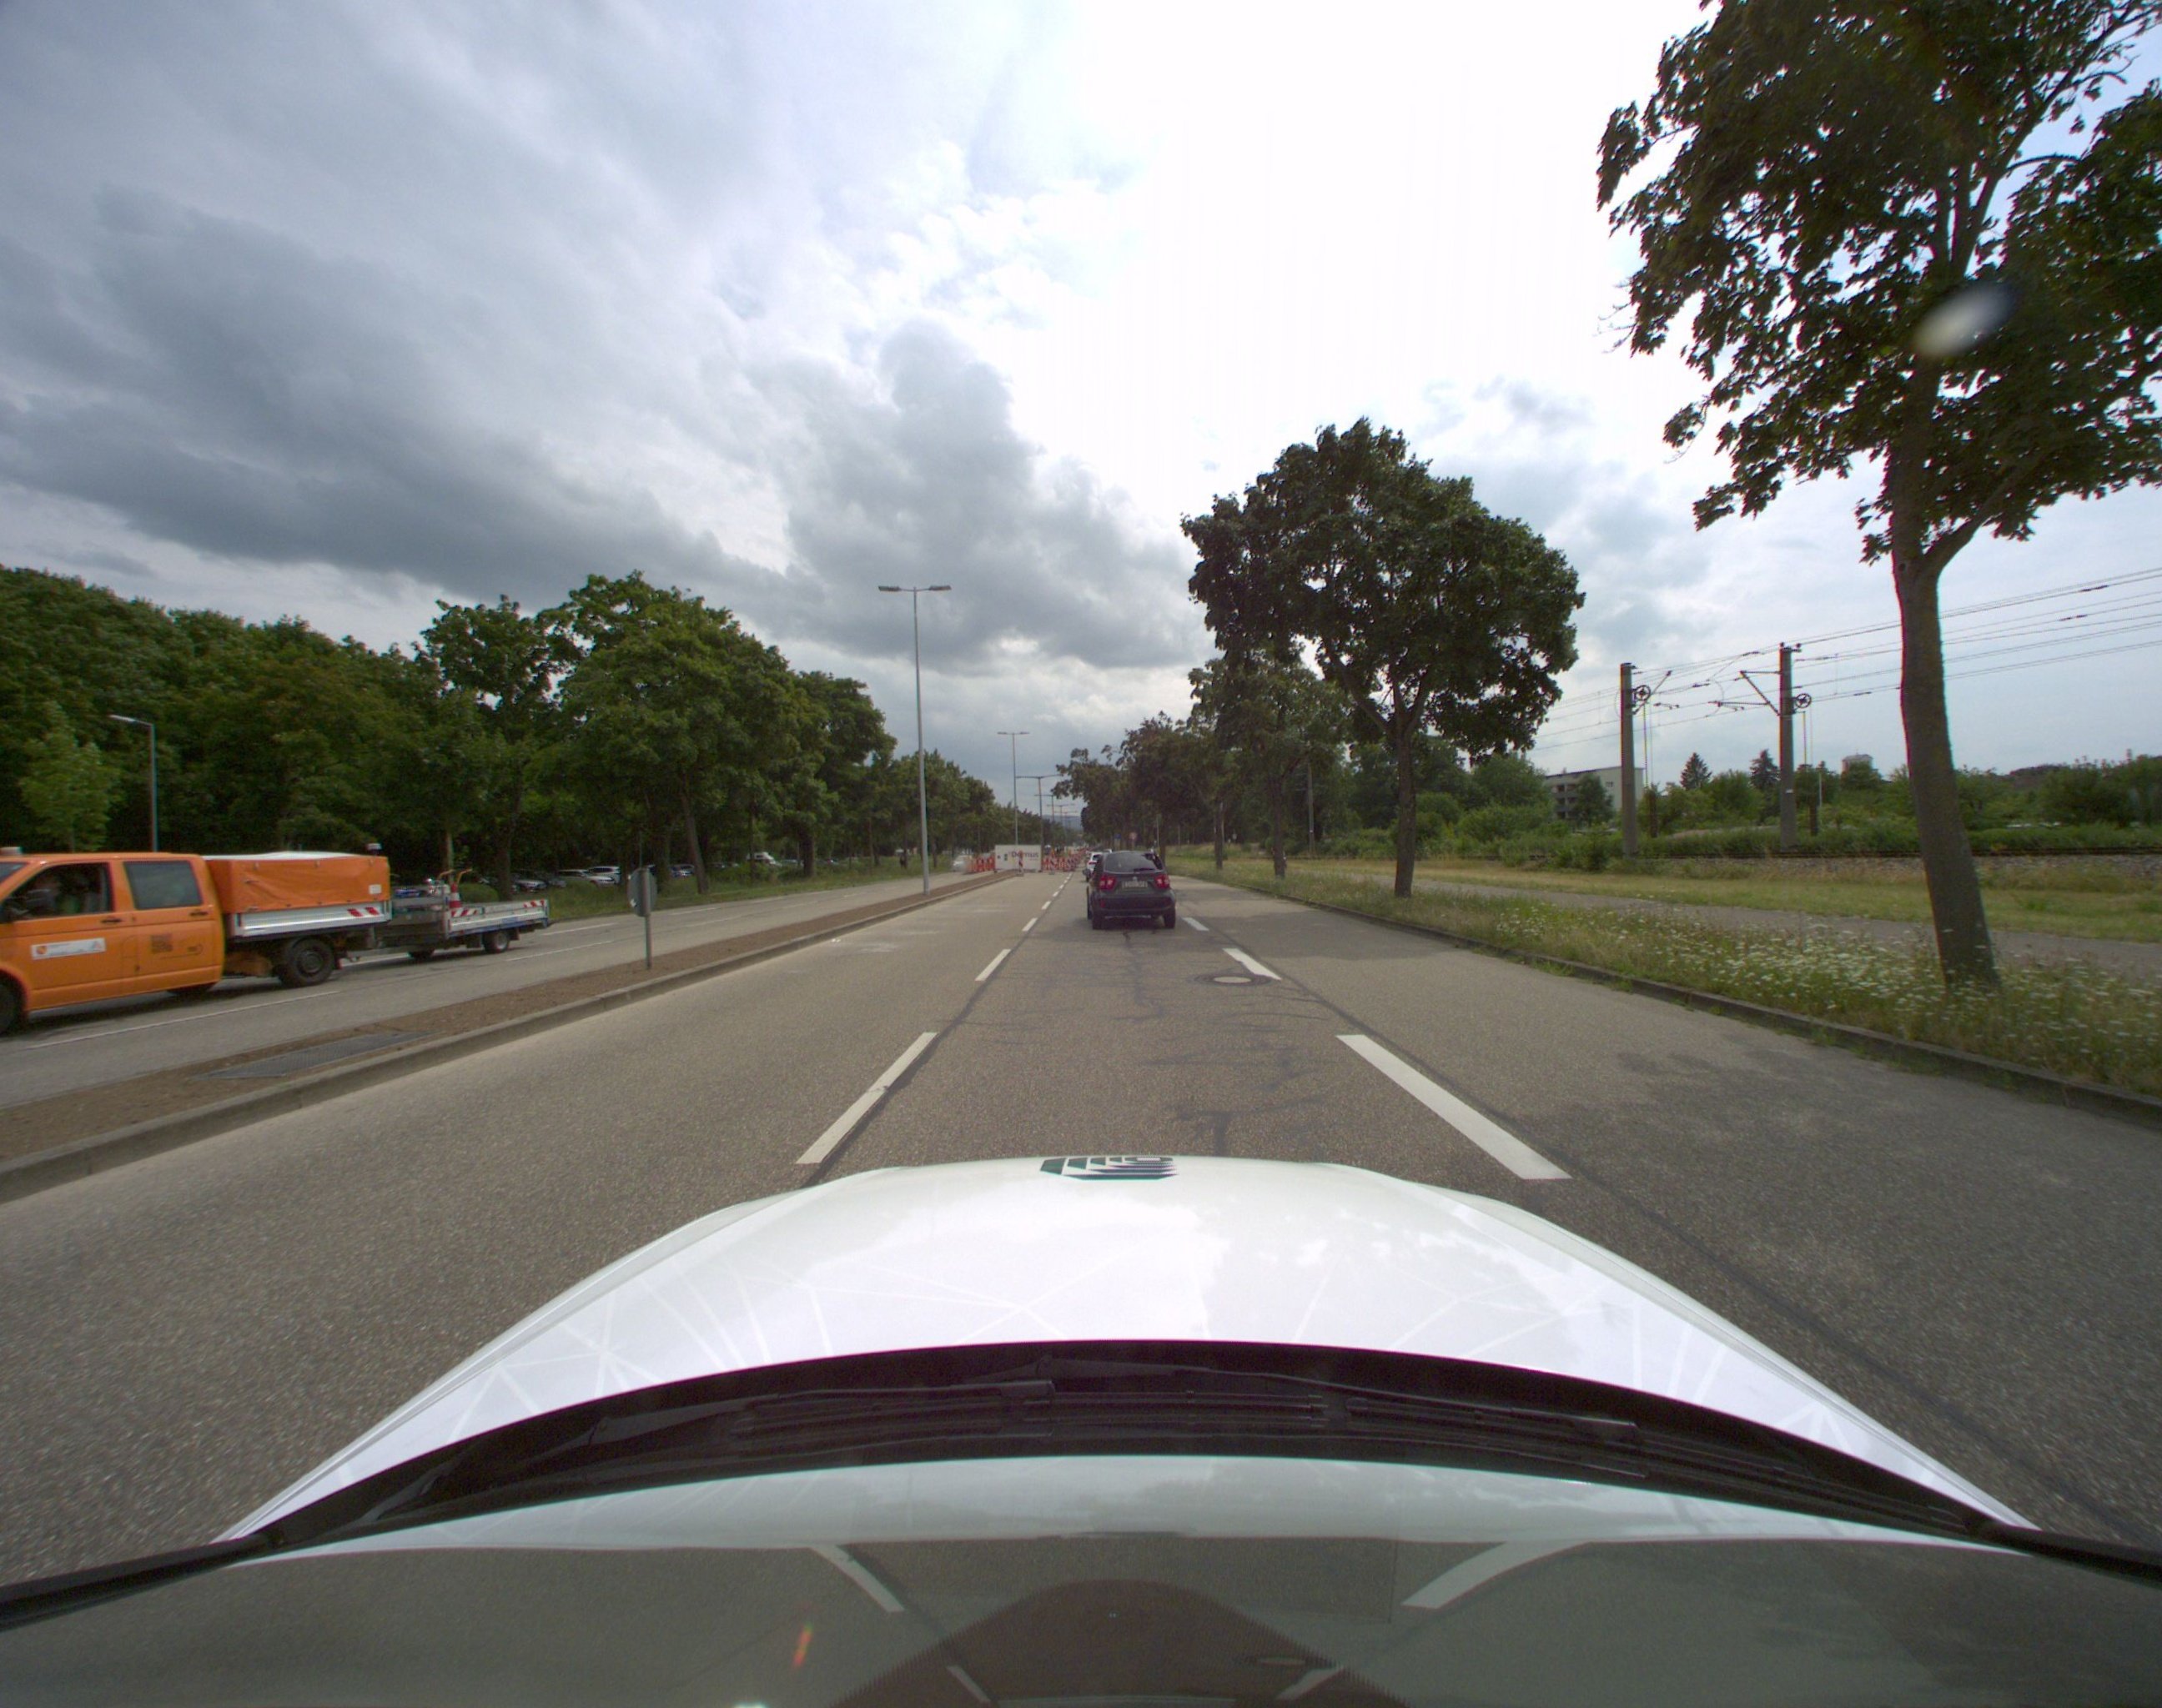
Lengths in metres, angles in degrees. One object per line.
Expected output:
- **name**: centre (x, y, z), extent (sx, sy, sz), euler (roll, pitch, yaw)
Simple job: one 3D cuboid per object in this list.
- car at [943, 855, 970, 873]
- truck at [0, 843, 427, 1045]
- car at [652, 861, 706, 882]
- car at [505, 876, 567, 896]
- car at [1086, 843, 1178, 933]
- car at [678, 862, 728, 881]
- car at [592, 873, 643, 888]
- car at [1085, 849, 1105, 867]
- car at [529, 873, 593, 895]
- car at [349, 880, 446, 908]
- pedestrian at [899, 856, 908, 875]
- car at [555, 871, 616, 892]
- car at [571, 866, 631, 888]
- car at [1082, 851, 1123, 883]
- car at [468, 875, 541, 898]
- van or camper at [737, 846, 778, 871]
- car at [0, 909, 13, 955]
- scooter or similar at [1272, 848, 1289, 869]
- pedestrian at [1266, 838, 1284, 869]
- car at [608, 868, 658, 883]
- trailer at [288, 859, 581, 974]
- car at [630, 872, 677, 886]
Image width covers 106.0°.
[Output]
- **car**: centre (-11.294, 0.857, 74.081), extent (1.684, 1.477, 4.000), euler (-3, 1, 1)
- **truck**: centre (-11.727, 0.920, 10.100), extent (2.080, 1.994, 6.042), euler (-3, 1, 2)
- **car**: centre (-37.712, 1.669, 76.466), extent (3.970, 1.782, 2.002), euler (-2, 1, 3)
- **car**: centre (-37.782, 2.193, 56.482), extent (3.280, 1.206, 1.519), euler (-2, 1, 3)
- **car**: centre (0.984, 0.628, 17.541), extent (1.698, 1.668, 3.999), euler (-1, 0, 0)
- **car**: centre (-37.662, 1.726, 81.207), extent (3.970, 1.782, 2.002), euler (-2, 1, 3)
- **car**: centre (-37.979, 2.185, 66.747), extent (3.353, 1.112, 1.442), euler (-2, 1, 2)
- **car**: centre (1.431, 0.366, 79.424), extent (1.786, 1.562, 4.003), euler (-2, 1, 2)
- **car**: centre (-37.724, 2.181, 59.097), extent (3.634, 1.411, 1.519), euler (-2, 1, 3)
- **car**: centre (-38.713, 2.278, 46.210), extent (3.970, 1.360, 1.824), euler (-2, 1, 3)
- **pedestrian**: centre (-17.002, 1.112, 77.894), extent (0.693, 1.838, 0.647), euler (-2, 1, -21)
- **car**: centre (-37.419, 2.059, 61.497), extent (3.634, 1.411, 1.519), euler (-2, 1, 3)
- **car**: centre (-37.872, 1.821, 64.304), extent (3.634, 1.519, 1.884), euler (-2, 1, 3)
- **car**: centre (1.043, 0.605, 40.864), extent (1.762, 1.464, 3.997), euler (-2, 1, -2)
- **car**: centre (-38.300, 2.156, 54.189), extent (3.630, 1.360, 1.710), euler (-2, 1, 3)
- **van or camper**: centre (-38.387, 0.523, 96.786), extent (3.973, 2.756, 1.927), euler (-2, 1, 1)
- **car**: centre (-37.589, 2.646, 26.163), extent (4.163, 1.498, 1.887), euler (-2, 1, 2)
- **scooter or similar**: centre (11.262, 0.246, 46.058), extent (0.680, 1.130, 0.933), euler (-2, 1, -4)
- **pedestrian**: centre (11.195, -0.034, 46.987), extent (0.689, 1.695, 0.933), euler (-2, 1, -4)
- **car**: centre (-37.325, 1.775, 67.842), extent (3.353, 1.128, 1.442), euler (-2, 1, 2)
- **trailer**: centre (-11.480, 1.015, 14.890), extent (2.054, 1.689, 3.898), euler (-3, 0, 3)
- **car**: centre (-37.583, 2.184, 71.617), extent (3.353, 1.094, 1.442), euler (-2, 1, 2)
